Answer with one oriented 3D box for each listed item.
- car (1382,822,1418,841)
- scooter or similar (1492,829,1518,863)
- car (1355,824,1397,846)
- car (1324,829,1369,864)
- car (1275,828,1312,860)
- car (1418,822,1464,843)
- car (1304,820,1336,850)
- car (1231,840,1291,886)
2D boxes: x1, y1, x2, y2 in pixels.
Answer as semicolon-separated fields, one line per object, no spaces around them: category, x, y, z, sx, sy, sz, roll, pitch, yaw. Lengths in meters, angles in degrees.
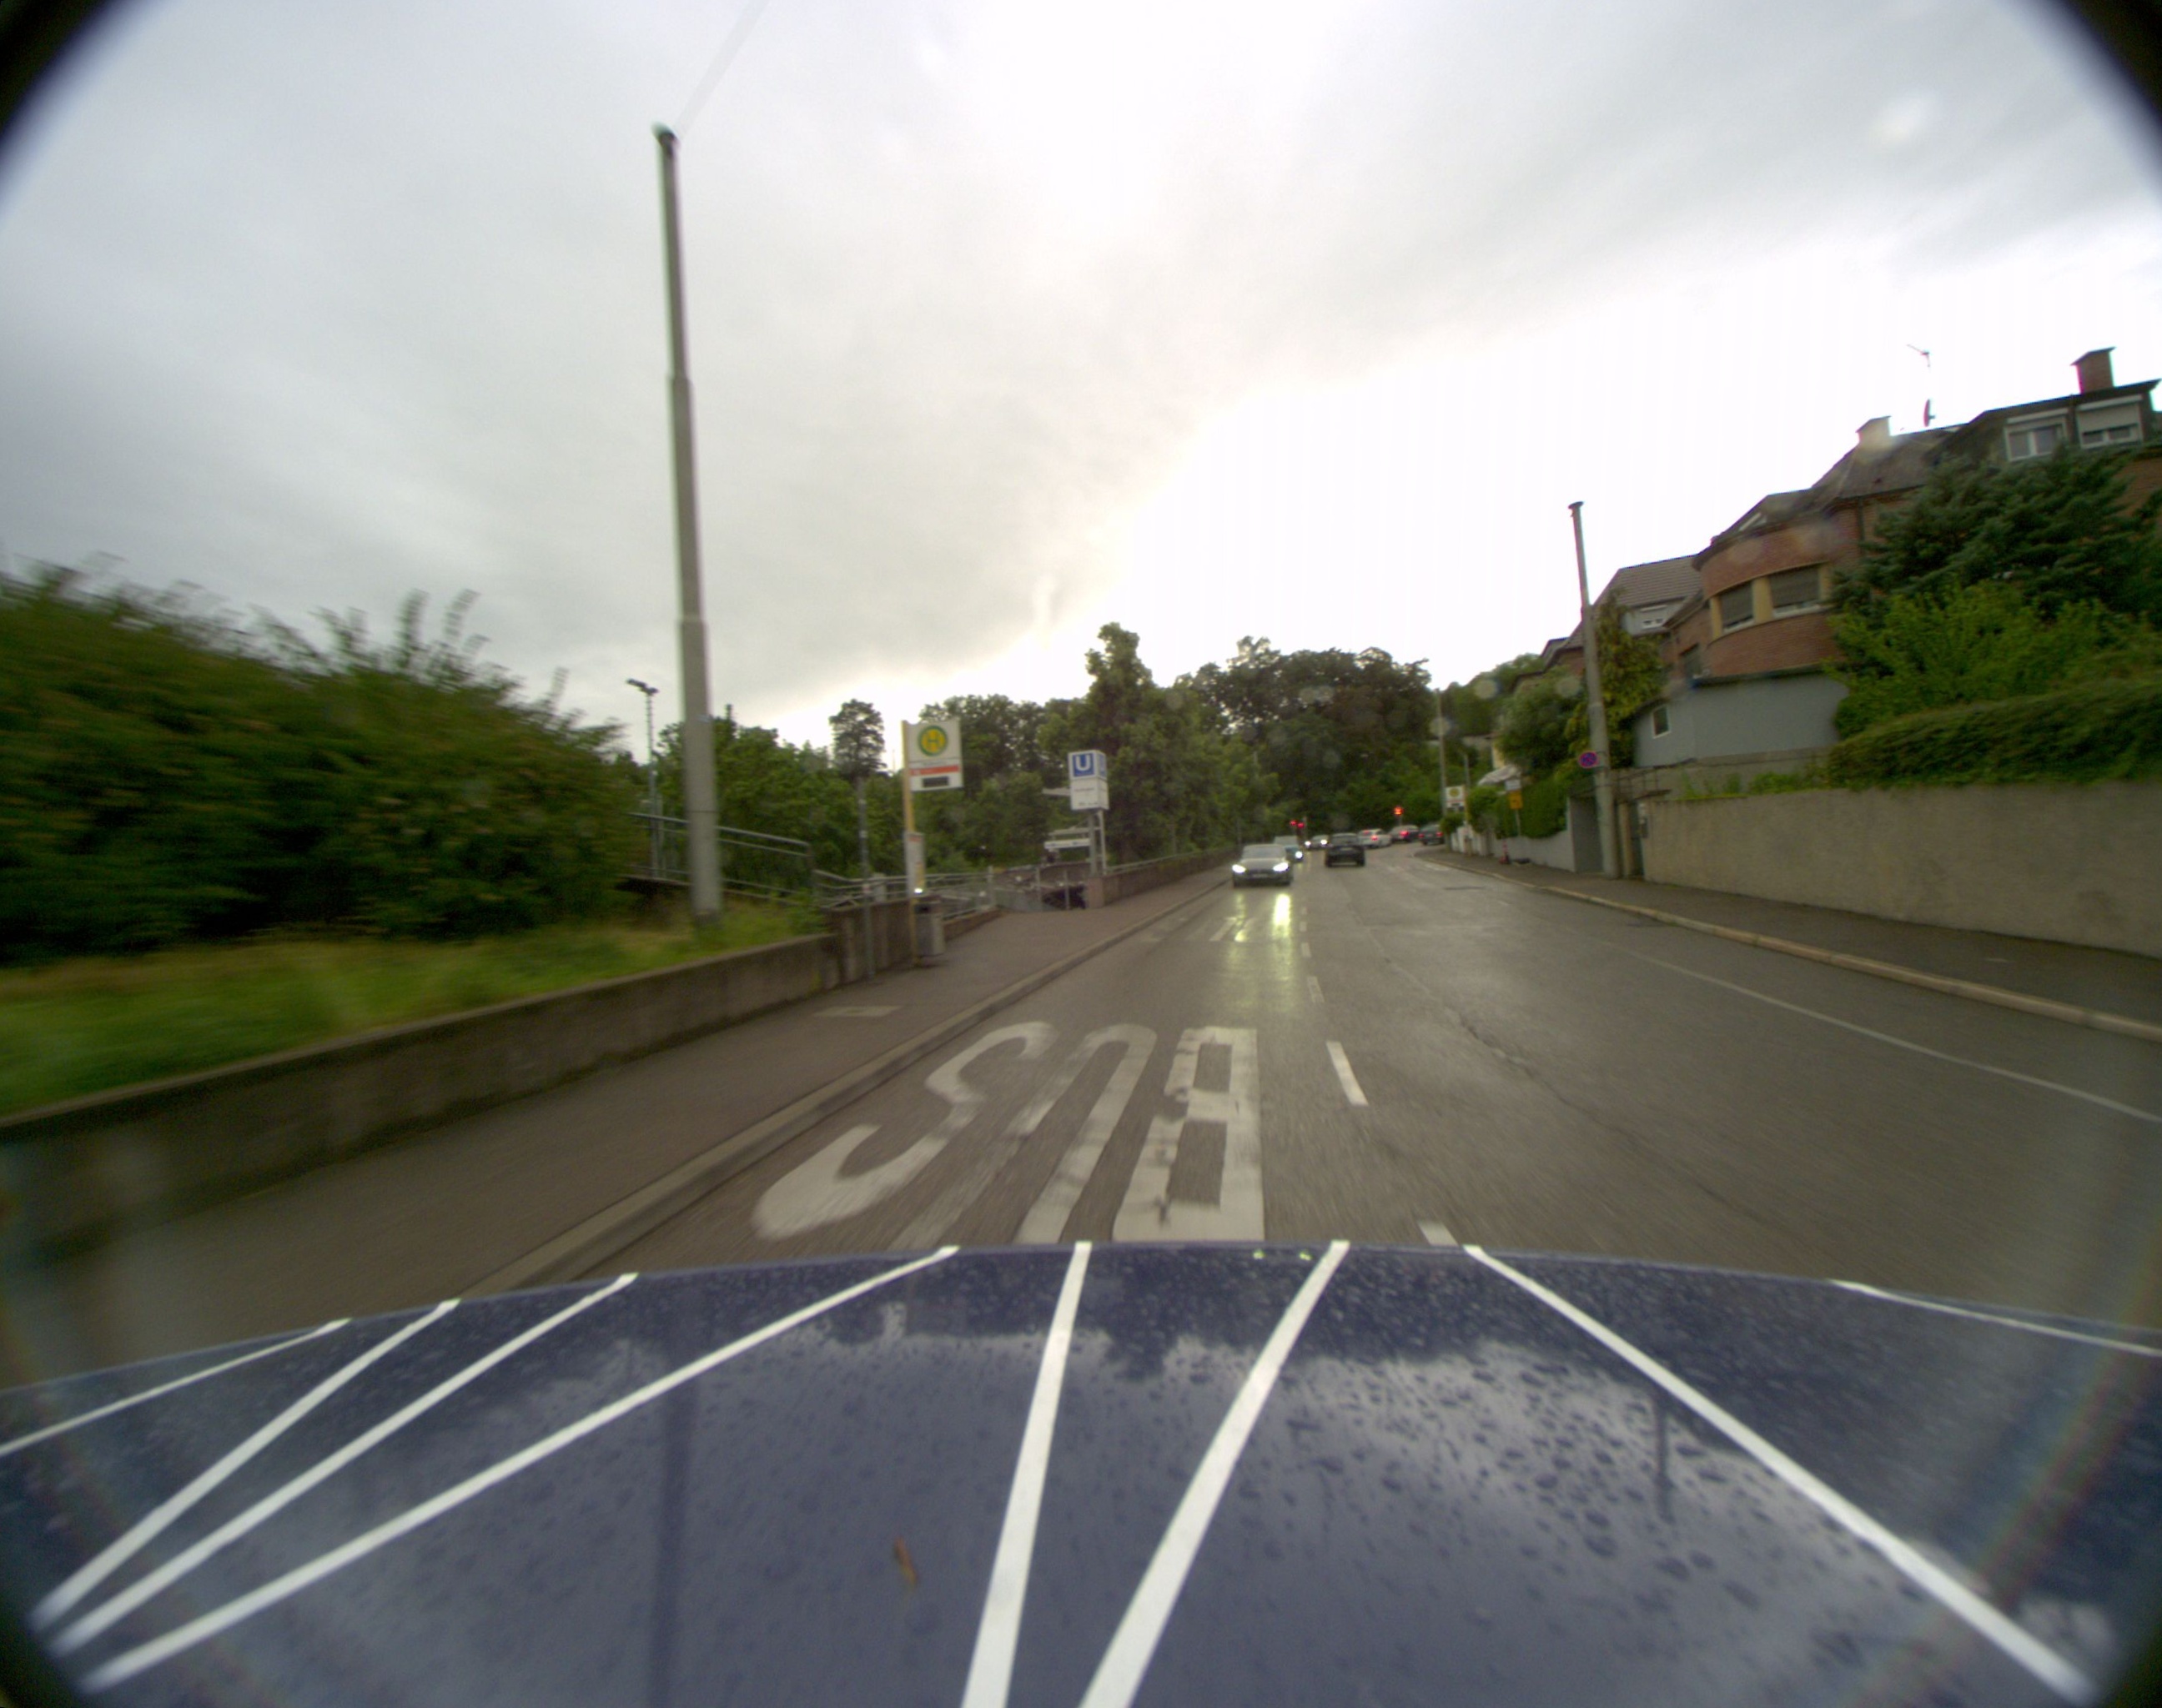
car;27.382;-1.921;65.329;1.862;1.387;4.598;-5;2;11
scooter or similar;15.402;-0.313;27.626;0.523;1.197;1.437;-2;1;17
car;23.289;-1.526;59.866;1.848;1.466;4.448;-1;2;38
car;12.720;-0.380;36.566;1.770;1.512;3.979;-3;1;17
car;12.633;-0.535;45.016;1.798;1.599;4.048;-5;-3;19
car;27.402;-1.638;57.740;1.738;1.442;4.624;-2;1;43
car;20.806;-1.613;66.137;1.996;1.999;4.010;-5;-7;25
car;6.531;0.279;27.204;1.833;1.384;4.328;-3;1;16
